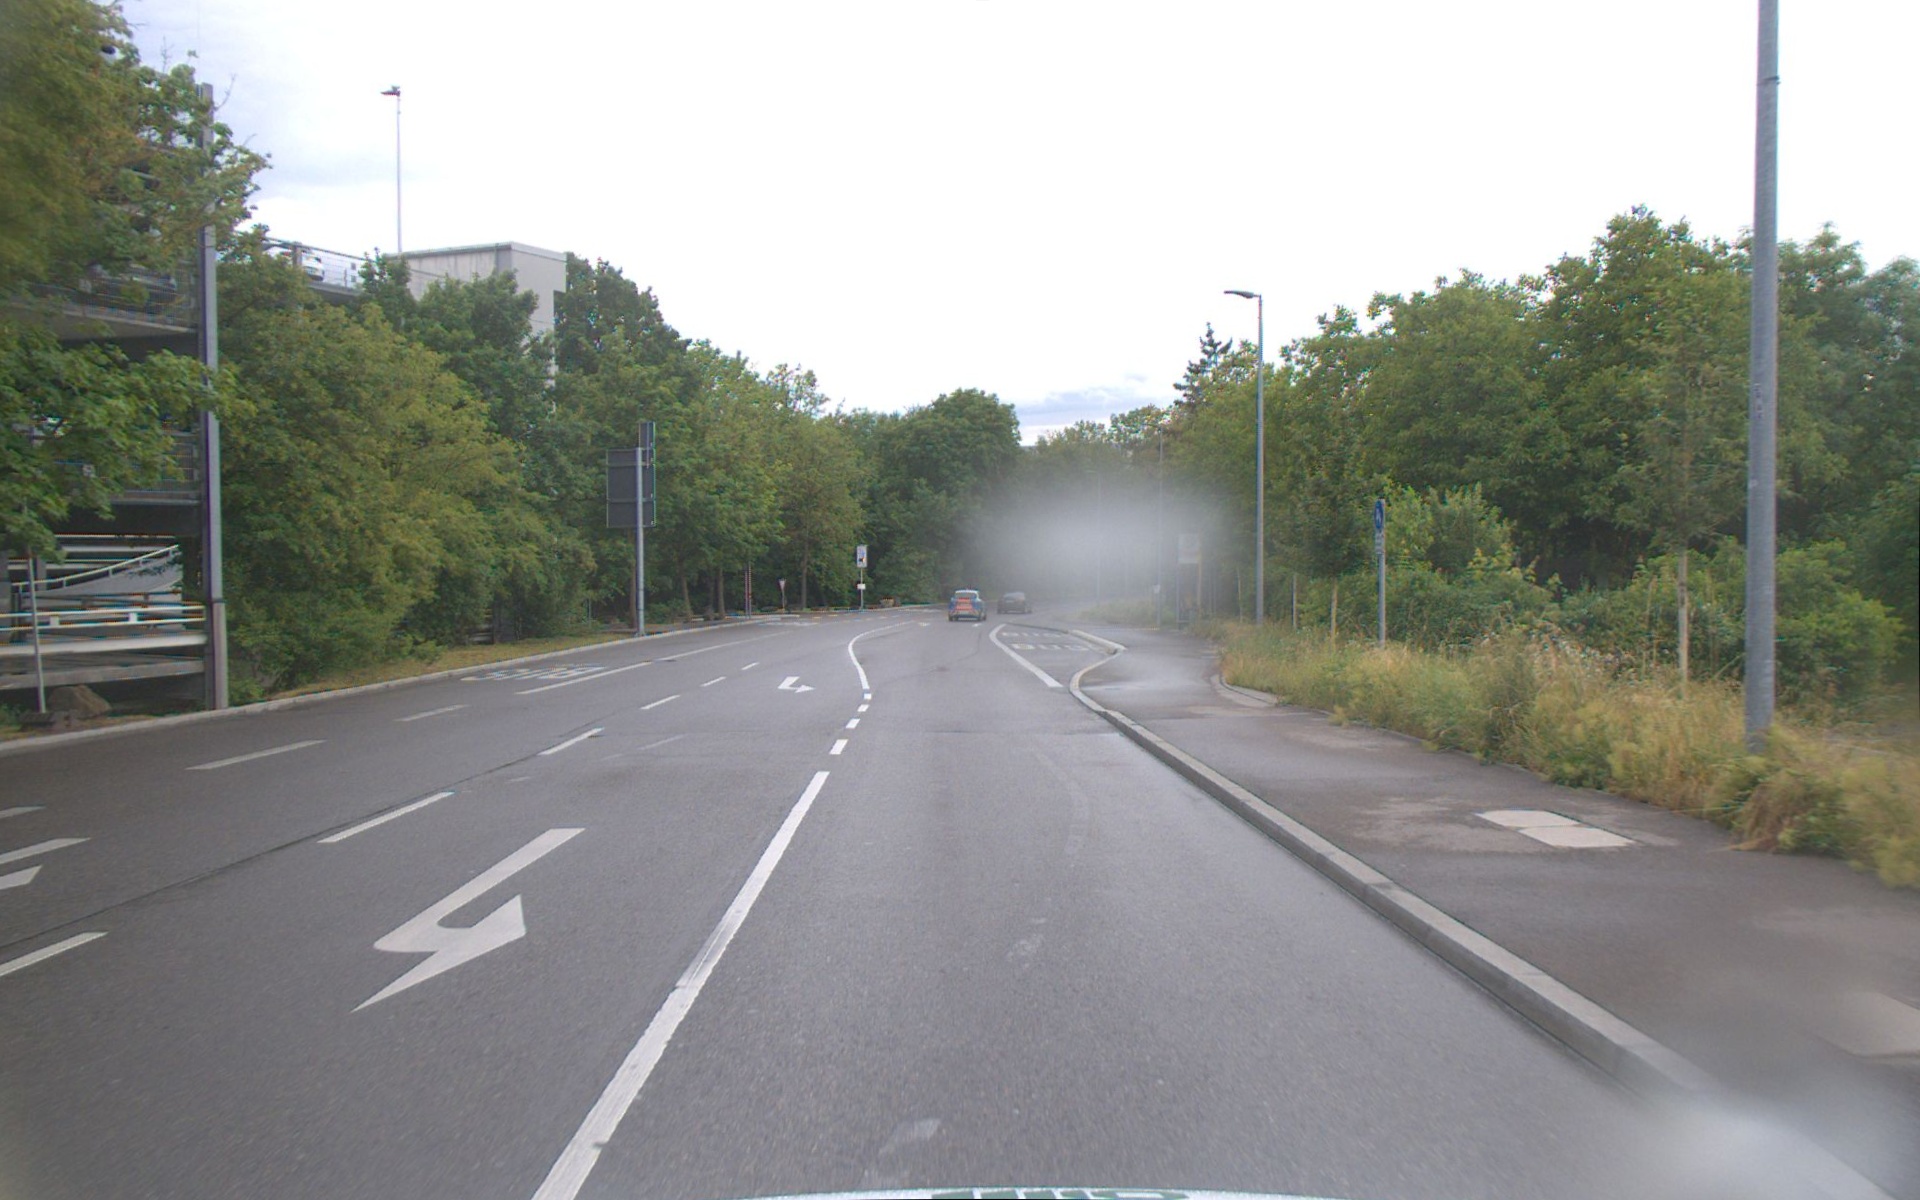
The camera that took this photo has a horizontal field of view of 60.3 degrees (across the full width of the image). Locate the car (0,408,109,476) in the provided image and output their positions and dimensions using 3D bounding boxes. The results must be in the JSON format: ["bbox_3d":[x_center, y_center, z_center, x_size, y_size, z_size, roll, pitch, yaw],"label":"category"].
[{"bbox_3d":[-25.279,-4.330,45.507,3.167,1.545,1.586,-2,0,21],"label":"car"}]

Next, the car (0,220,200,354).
[{"bbox_3d":[-15.245,-5.305,28.381,3.910,1.545,1.998,-2,0,28],"label":"car"}]

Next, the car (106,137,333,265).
[{"bbox_3d":[-14.369,-7.671,32.091,3.910,1.545,1.998,-2,0,28],"label":"car"}]

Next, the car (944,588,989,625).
[{"bbox_3d":[0.359,0.320,85.321,1.951,1.718,4.003,-1,2,5],"label":"car"}]

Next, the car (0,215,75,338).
[{"bbox_3d":[-16.397,-5.097,26.537,3.910,1.545,1.998,-2,0,28],"label":"car"}]

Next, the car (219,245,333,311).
[{"bbox_3d":[-22.096,-10.374,53.427,3.167,1.545,1.586,-2,0,21],"label":"car"}]

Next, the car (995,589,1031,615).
[{"bbox_3d":[3.417,0.110,105.459,1.886,1.512,3.803,-1,2,8],"label":"car"}]
